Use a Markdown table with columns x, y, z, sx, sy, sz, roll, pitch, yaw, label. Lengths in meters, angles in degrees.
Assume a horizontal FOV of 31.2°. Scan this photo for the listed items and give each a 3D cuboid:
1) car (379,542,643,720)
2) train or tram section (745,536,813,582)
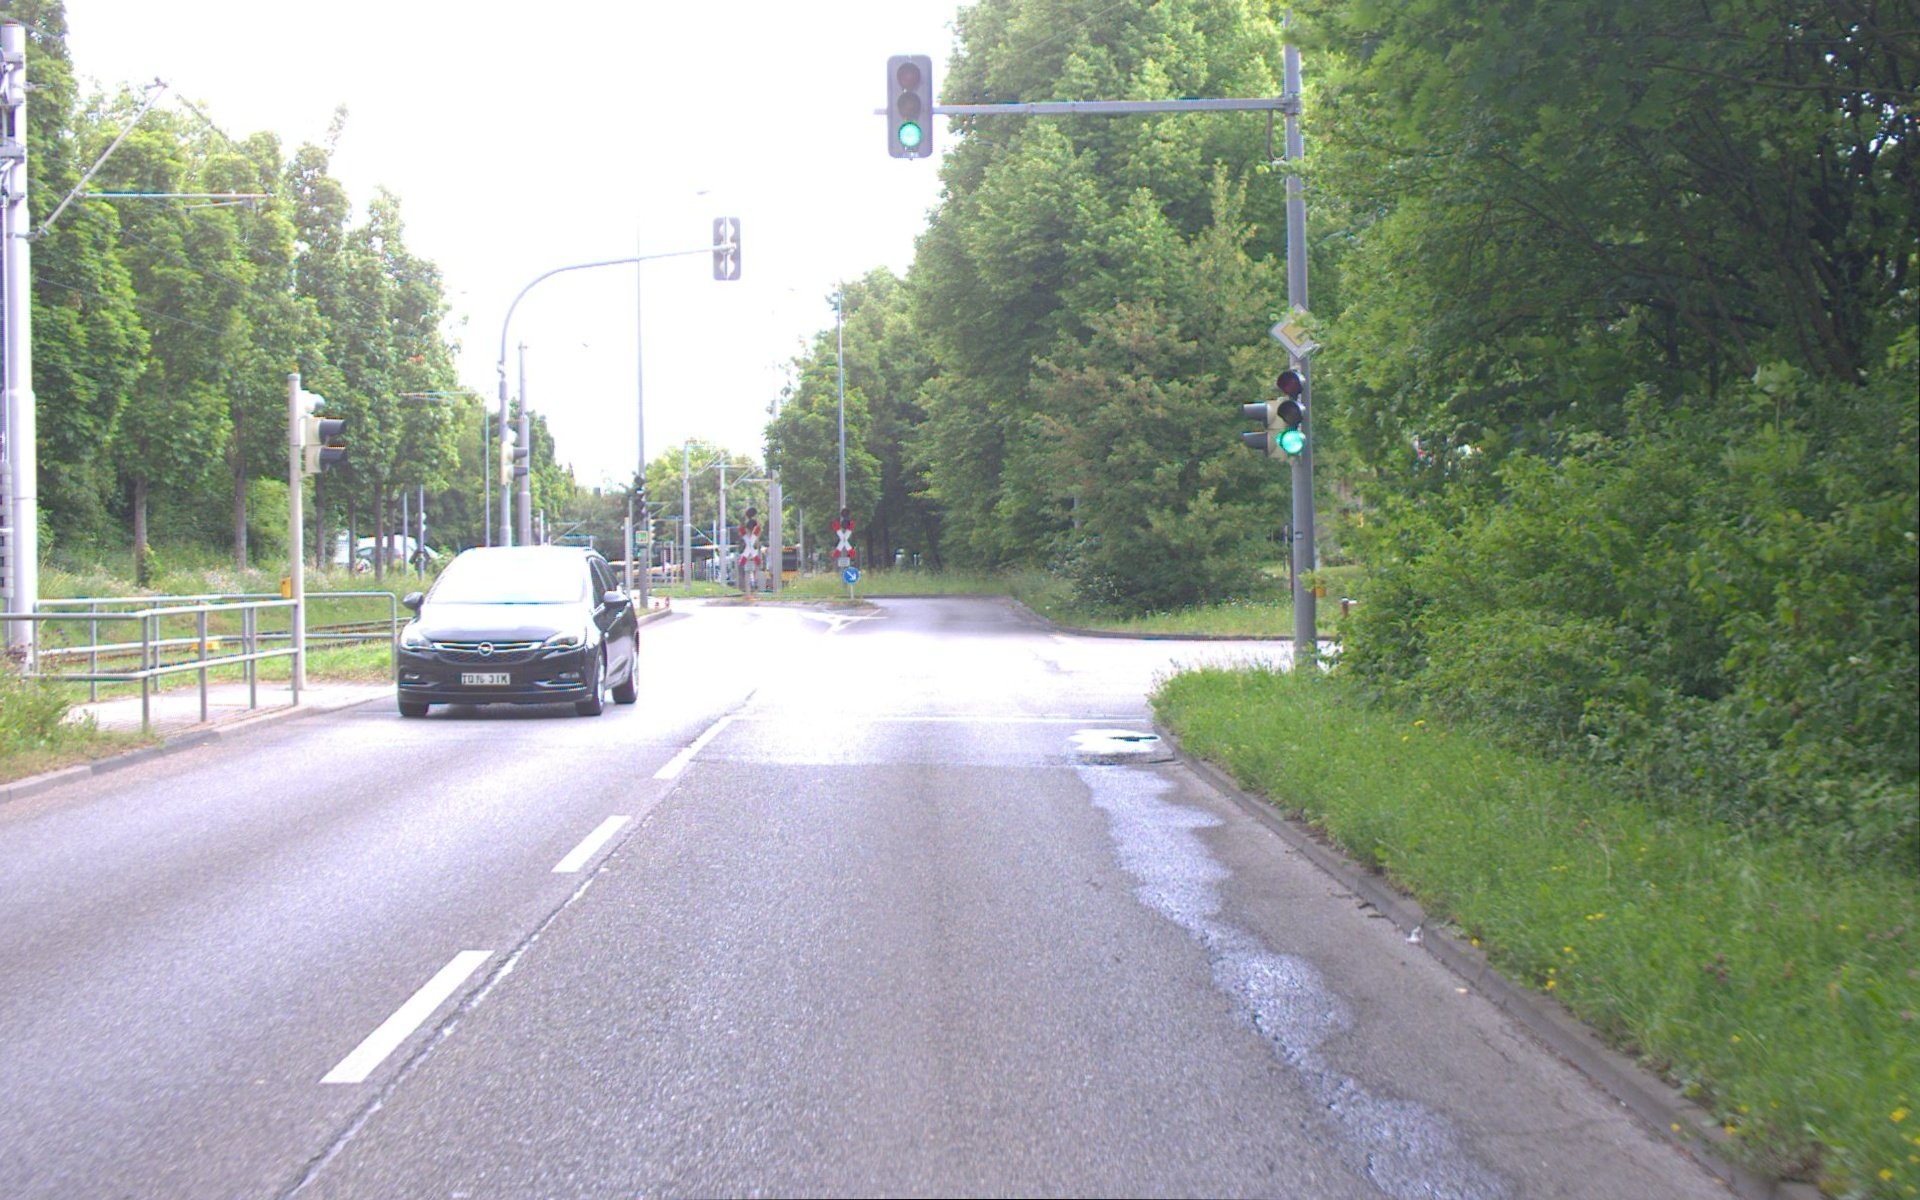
| x | y | z | sx | sy | sz | roll | pitch | yaw | label |
| --- | --- | --- | --- | --- | --- | --- | --- | --- | --- |
| -3.964 | 0.223 | 30.979 | 1.850 | 1.465 | 4.256 | 0 | 1 | 0 | car |
| -14.170 | -3.080 | 266.063 | 3.007 | 3.299 | 34.717 | 0 | 0 | -7 | train or tram section |
